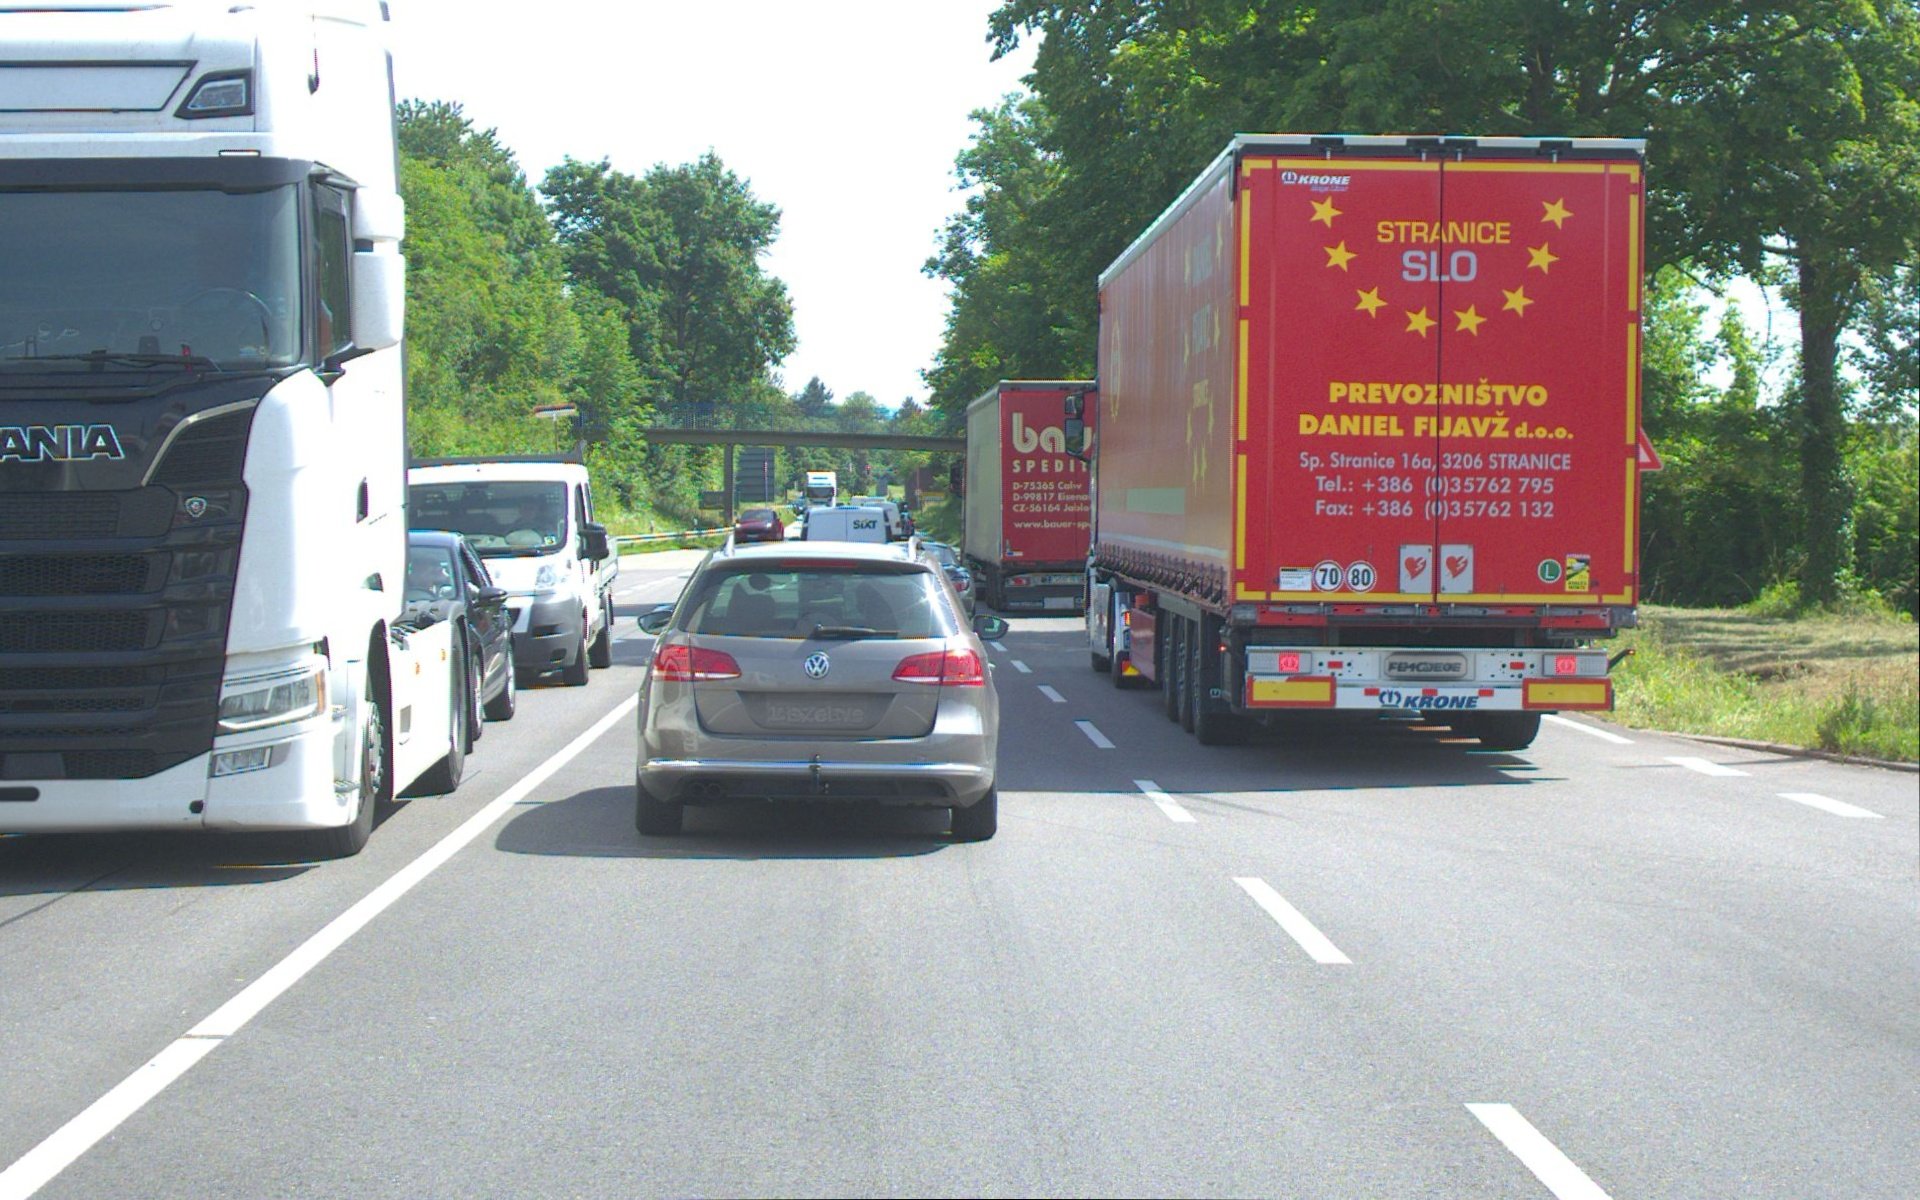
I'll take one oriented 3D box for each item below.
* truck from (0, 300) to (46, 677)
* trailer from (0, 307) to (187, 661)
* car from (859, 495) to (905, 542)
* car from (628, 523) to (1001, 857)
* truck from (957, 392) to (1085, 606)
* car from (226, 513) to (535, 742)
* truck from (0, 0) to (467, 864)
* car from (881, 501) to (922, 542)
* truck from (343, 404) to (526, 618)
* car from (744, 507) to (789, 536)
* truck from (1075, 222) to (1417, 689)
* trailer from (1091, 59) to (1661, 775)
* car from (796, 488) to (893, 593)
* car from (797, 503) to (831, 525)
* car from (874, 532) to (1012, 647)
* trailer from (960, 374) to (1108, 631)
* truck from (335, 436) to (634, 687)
[{"bbox_3d":[-11.709,-1.141,34.439,2.829,4.102,9.683,-1,1,-2],"label":"truck"},{"bbox_3d":[-12.119,-1.384,43.777,2.840,4.055,8.757,-1,1,-2],"label":"trailer"},{"bbox_3d":[-3.475,-3.609,152.572,1.993,2.007,4.000,-1,1,-2],"label":"car"},{"bbox_3d":[-0.748,0.380,17.852,1.691,1.508,4.001,-1,1,-2],"label":"car"},{"bbox_3d":[1.193,-2.016,69.725,2.406,4.113,5.521,-1,1,0],"label":"truck"},{"bbox_3d":[-4.249,0.153,25.775,1.710,1.546,4.109,-1,1,-2],"label":"car"},{"bbox_3d":[-4.097,-1.001,17.309,2.536,4.074,6.266,-1,1,-3],"label":"truck"},{"bbox_3d":[-3.038,-4.025,176.821,1.993,2.007,4.000,-1,1,-2],"label":"car"},{"bbox_3d":[-9.159,-1.545,60.472,2.343,3.508,6.698,-1,1,-2],"label":"truck"},{"bbox_3d":[-9.264,-3.750,164.652,1.796,1.341,3.768,-1,1,2],"label":"car"},{"bbox_3d":[2.743,-1.385,34.685,2.870,4.266,5.839,1,1,0],"label":"truck"},{"bbox_3d":[2.807,-1.240,27.710,2.839,4.350,13.168,1,1,0],"label":"trailer"},{"bbox_3d":[-2.242,-1.155,66.335,1.770,1.930,3.978,-1,1,-2],"label":"car"},{"bbox_3d":[-9.323,-5.496,219.939,1.963,1.410,4.000,-1,1,1],"label":"car"},{"bbox_3d":[-0.276,-0.179,48.108,1.770,1.508,4.001,-1,1,-2],"label":"car"},{"bbox_3d":[1.233,-1.746,63.889,2.395,4.229,13.078,-1,1,0],"label":"trailer"},{"bbox_3d":[-4.674,-0.411,34.837,2.227,2.260,6.500,-1,1,-1],"label":"truck"}]
